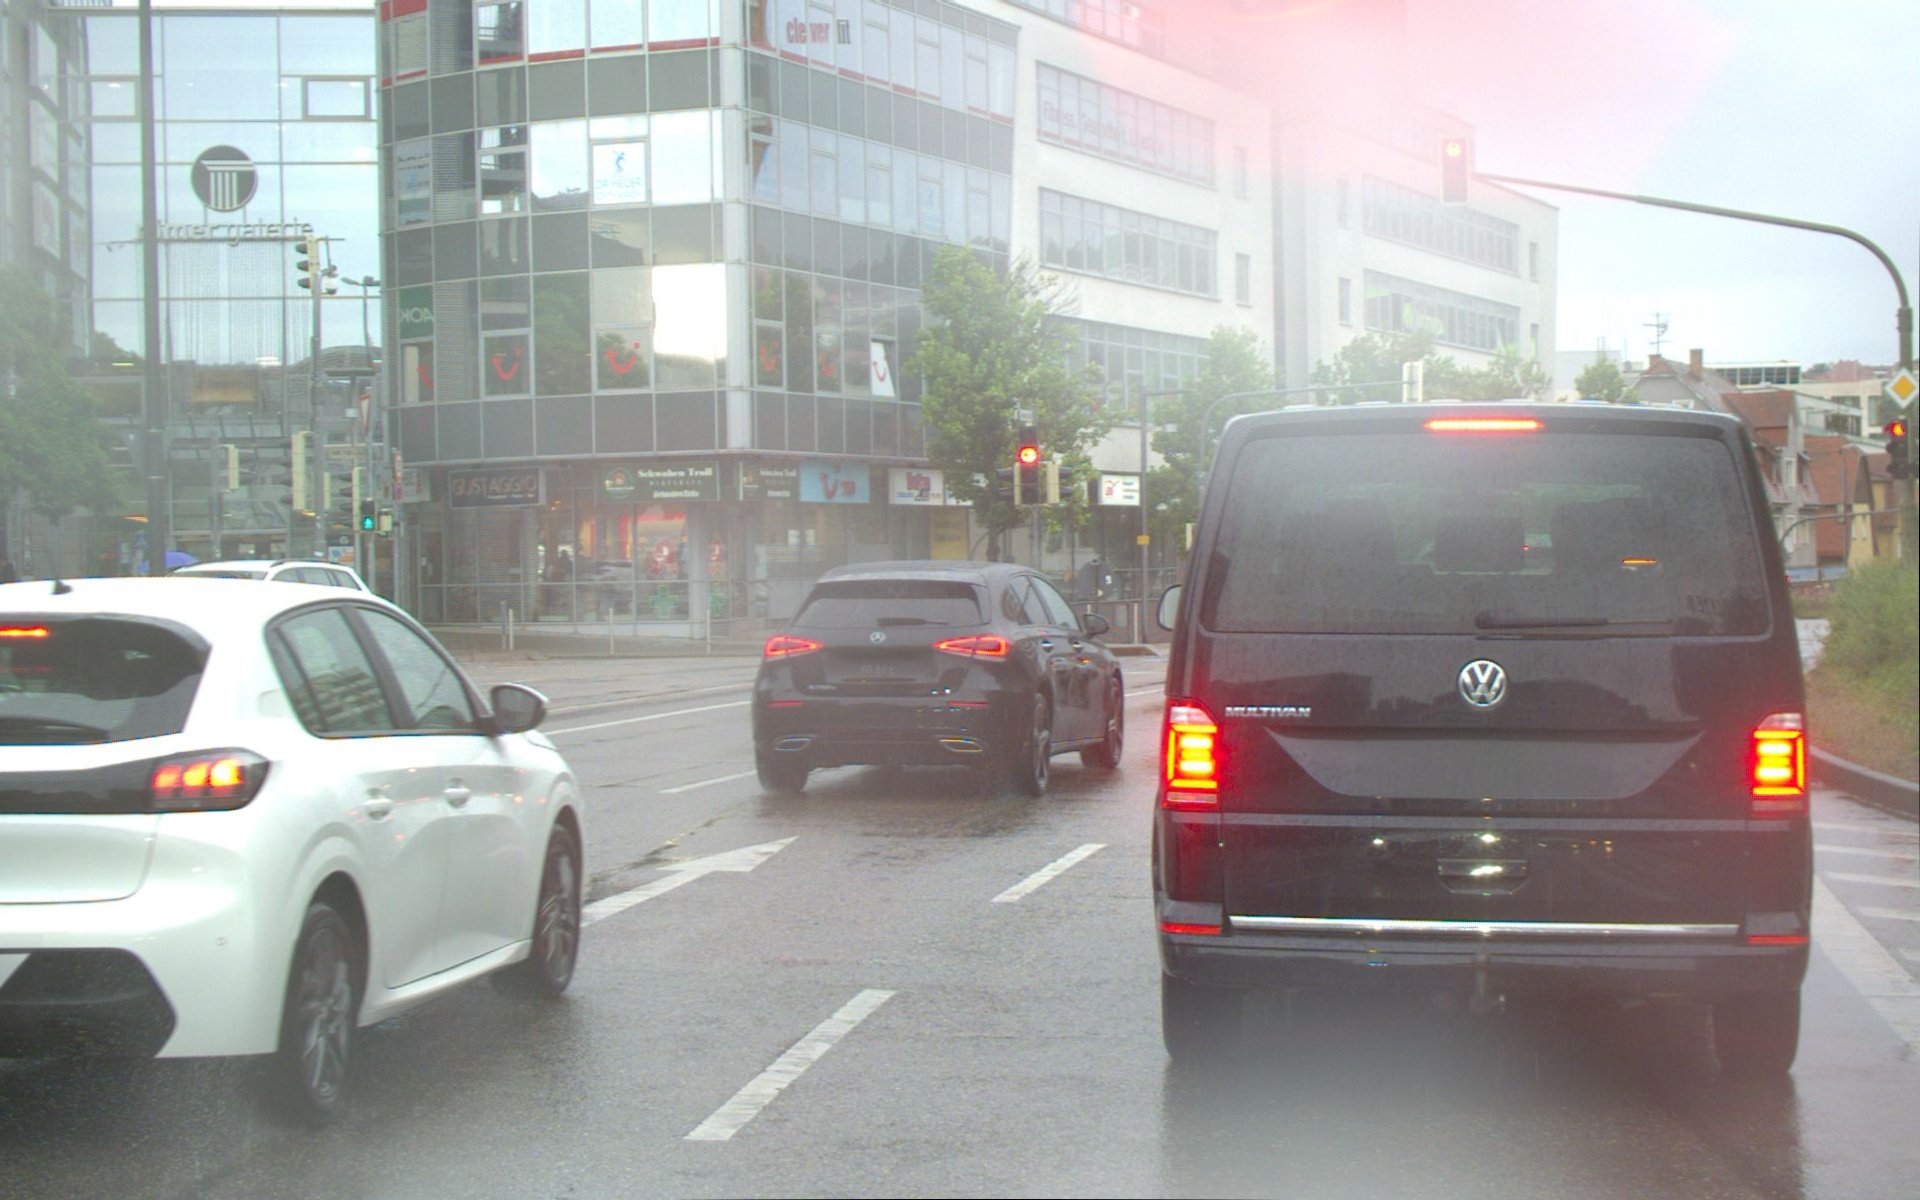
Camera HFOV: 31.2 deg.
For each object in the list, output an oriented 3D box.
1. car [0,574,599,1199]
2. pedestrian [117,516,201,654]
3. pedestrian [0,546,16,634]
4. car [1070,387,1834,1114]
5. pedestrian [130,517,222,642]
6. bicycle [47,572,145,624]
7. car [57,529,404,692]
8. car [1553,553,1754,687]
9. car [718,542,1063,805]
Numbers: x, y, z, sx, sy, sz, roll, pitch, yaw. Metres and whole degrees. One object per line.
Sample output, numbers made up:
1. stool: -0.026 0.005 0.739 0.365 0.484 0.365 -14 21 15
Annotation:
1. car: -2.417 0.666 10.180 1.872 1.457 3.872 0 1 7
2. pedestrian: -11.899 -0.229 51.032 1.162 2.007 1.329 -1 1 -14
3. pedestrian: -21.965 -0.234 78.483 0.762 2.007 0.714 -1 1 -17
4. car: 1.595 0.374 11.340 1.996 1.887 4.585 0 0 8
5. pedestrian: -11.650 -0.307 51.101 0.846 1.813 1.023 -1 0 24
6. bicycle: -21.265 -0.055 84.674 2.273 1.242 0.677 -1 0 -9
7. car: -7.922 0.078 37.797 1.887 1.676 4.502 0 1 15
8. car: 7.705 0.217 38.012 1.913 1.396 3.455 -1 0 16
9. car: -0.363 0.405 22.447 1.816 1.524 3.812 1 1 5
